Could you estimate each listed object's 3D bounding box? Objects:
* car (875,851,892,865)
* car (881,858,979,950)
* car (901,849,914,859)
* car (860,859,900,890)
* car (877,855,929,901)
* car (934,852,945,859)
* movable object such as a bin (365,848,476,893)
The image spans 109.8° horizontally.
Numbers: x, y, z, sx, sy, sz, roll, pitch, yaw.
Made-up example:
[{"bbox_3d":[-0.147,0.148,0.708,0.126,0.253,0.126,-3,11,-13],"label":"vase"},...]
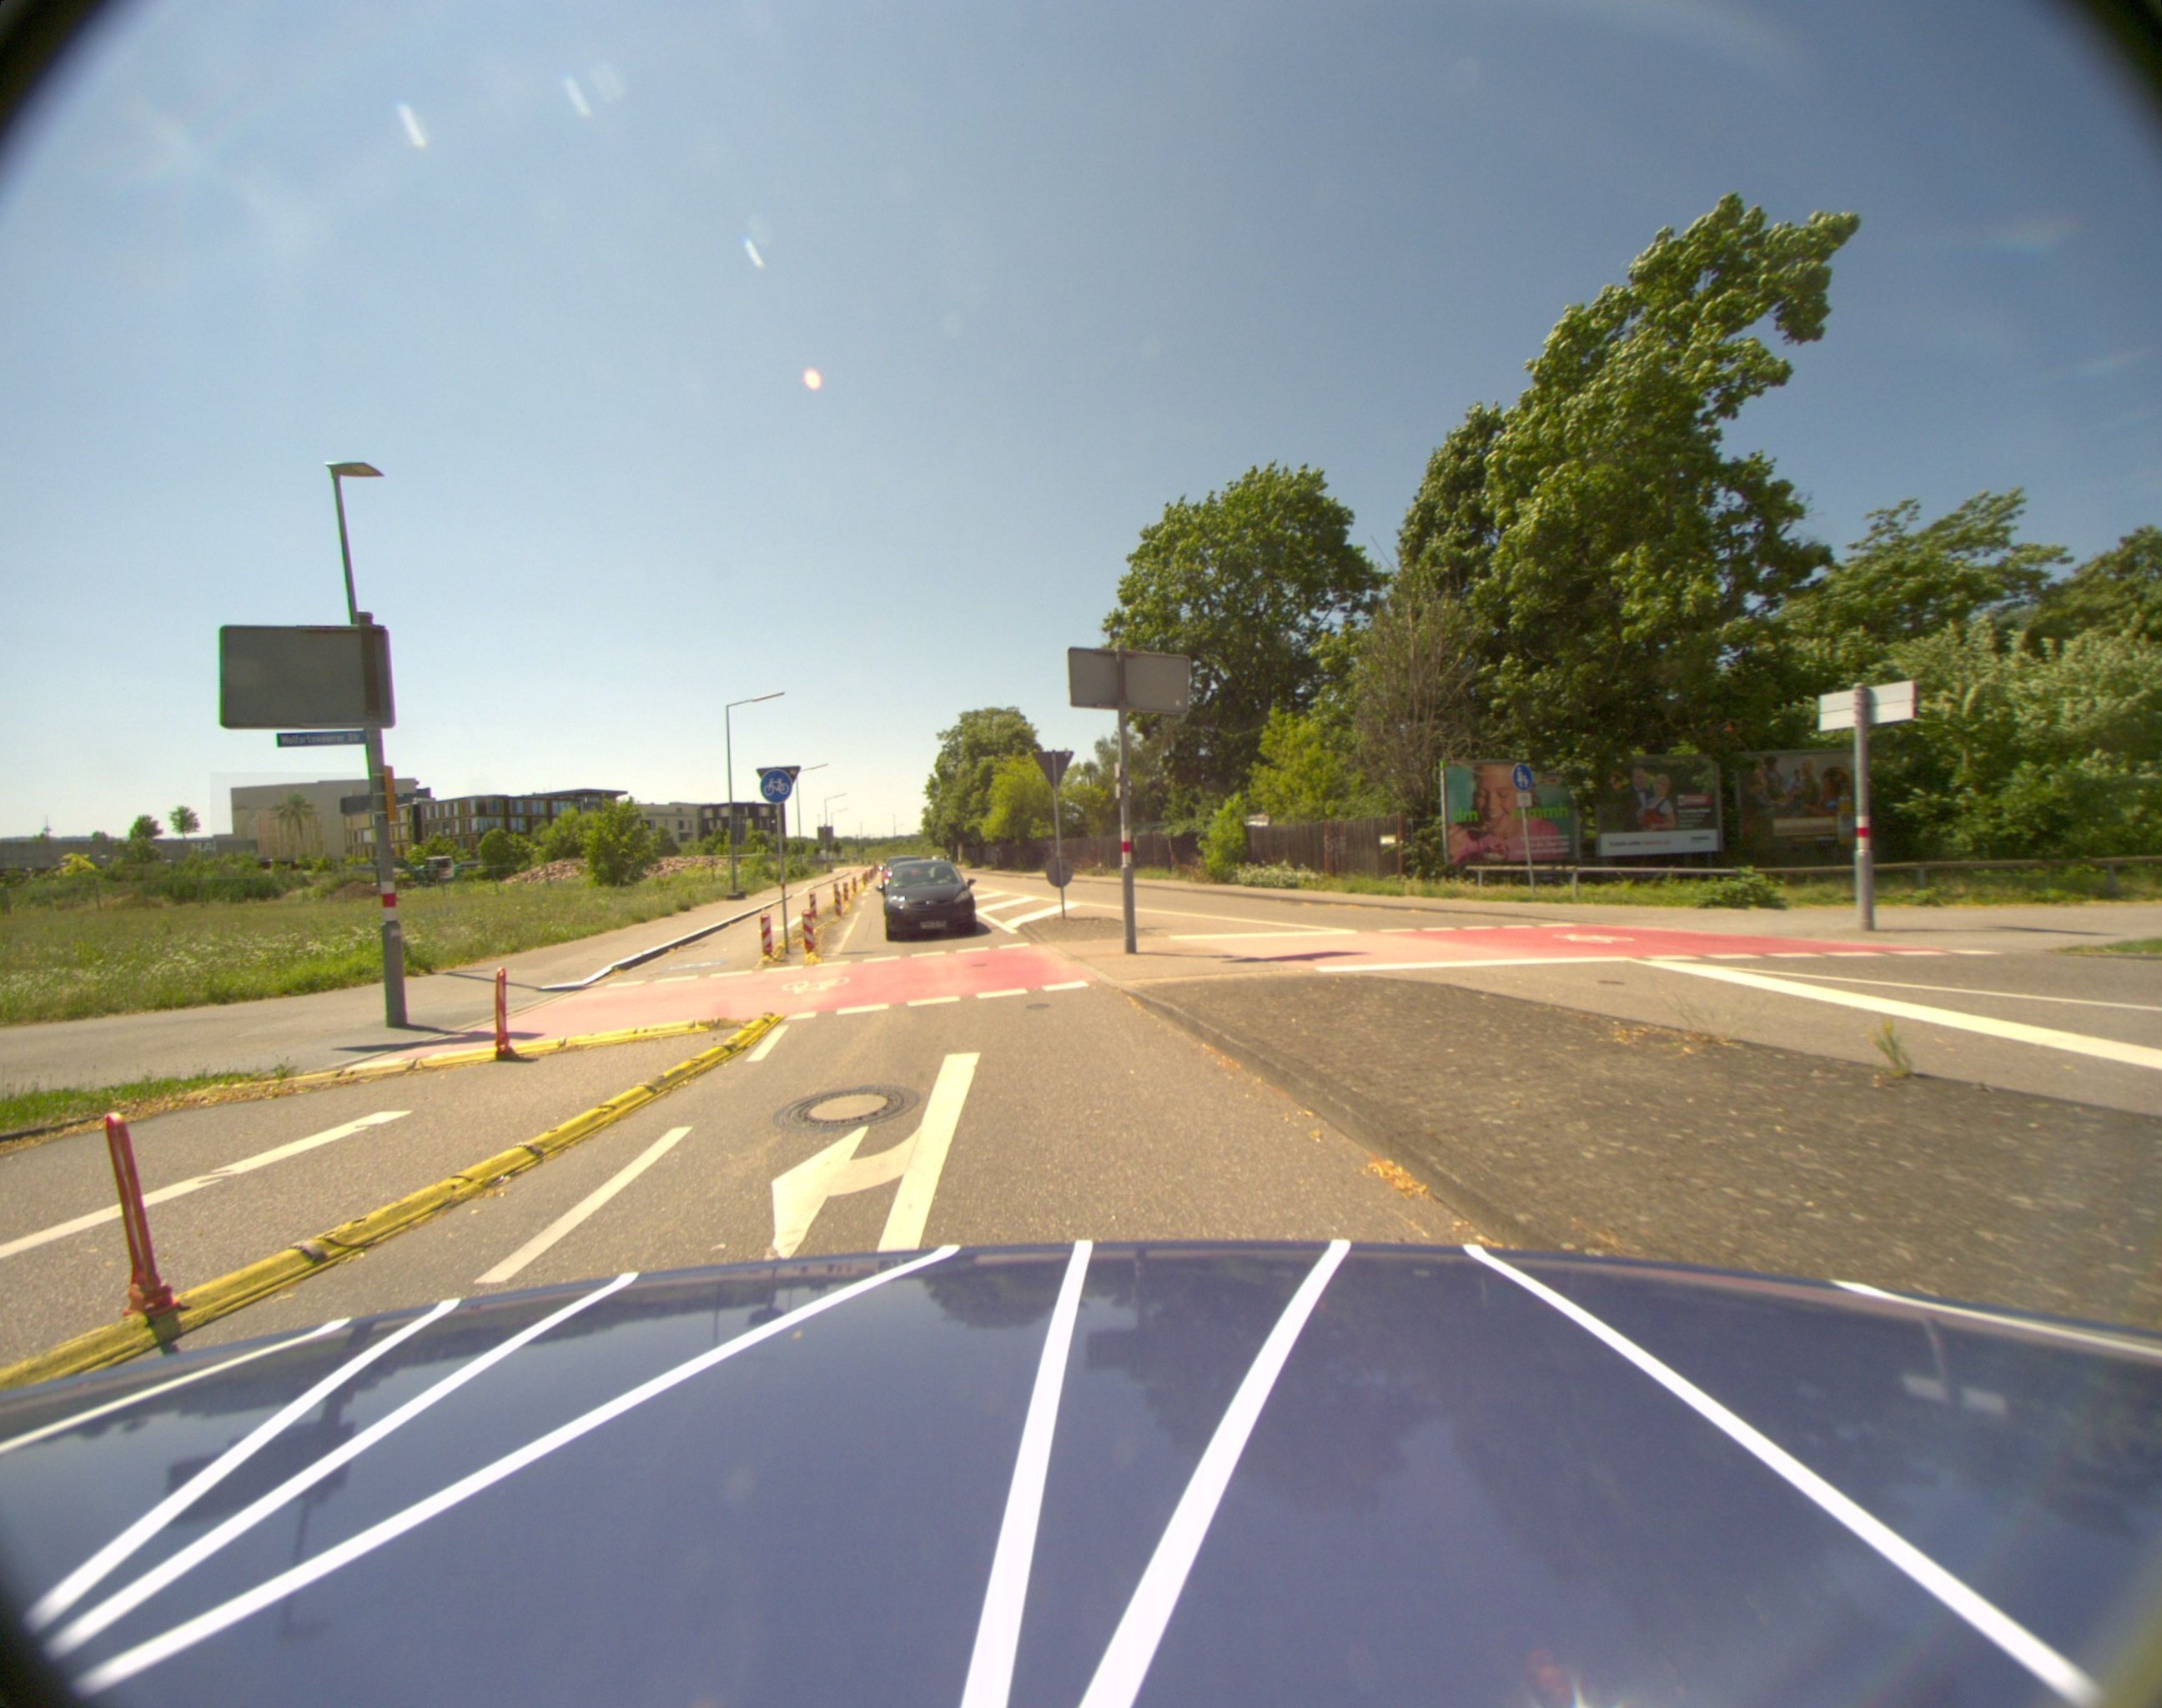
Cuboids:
[{"bbox_3d":[-23.398,0.469,90.049,1.761,1.536,3.689,-3,1,-16],"label":"car"},{"bbox_3d":[-3.084,0.884,15.234,1.634,1.499,3.814,-3,1,-13],"label":"car"},{"bbox_3d":[-28.498,-0.037,124.881,1.761,1.536,3.689,-3,1,-16],"label":"car"},{"bbox_3d":[-10.768,1.076,40.855,1.865,1.420,3.995,-4,1,-14],"label":"car"},{"bbox_3d":[-6.780,0.844,28.930,1.722,1.518,4.206,-3,1,-13],"label":"car"},{"bbox_3d":[-30.213,0.353,161.683,1.721,1.455,3.836,-1,0,-19],"label":"car"},{"bbox_3d":[-53.830,1.262,62.265,2.814,3.131,7.599,-4,2,-6],"label":"movable object such as a bin"}]
